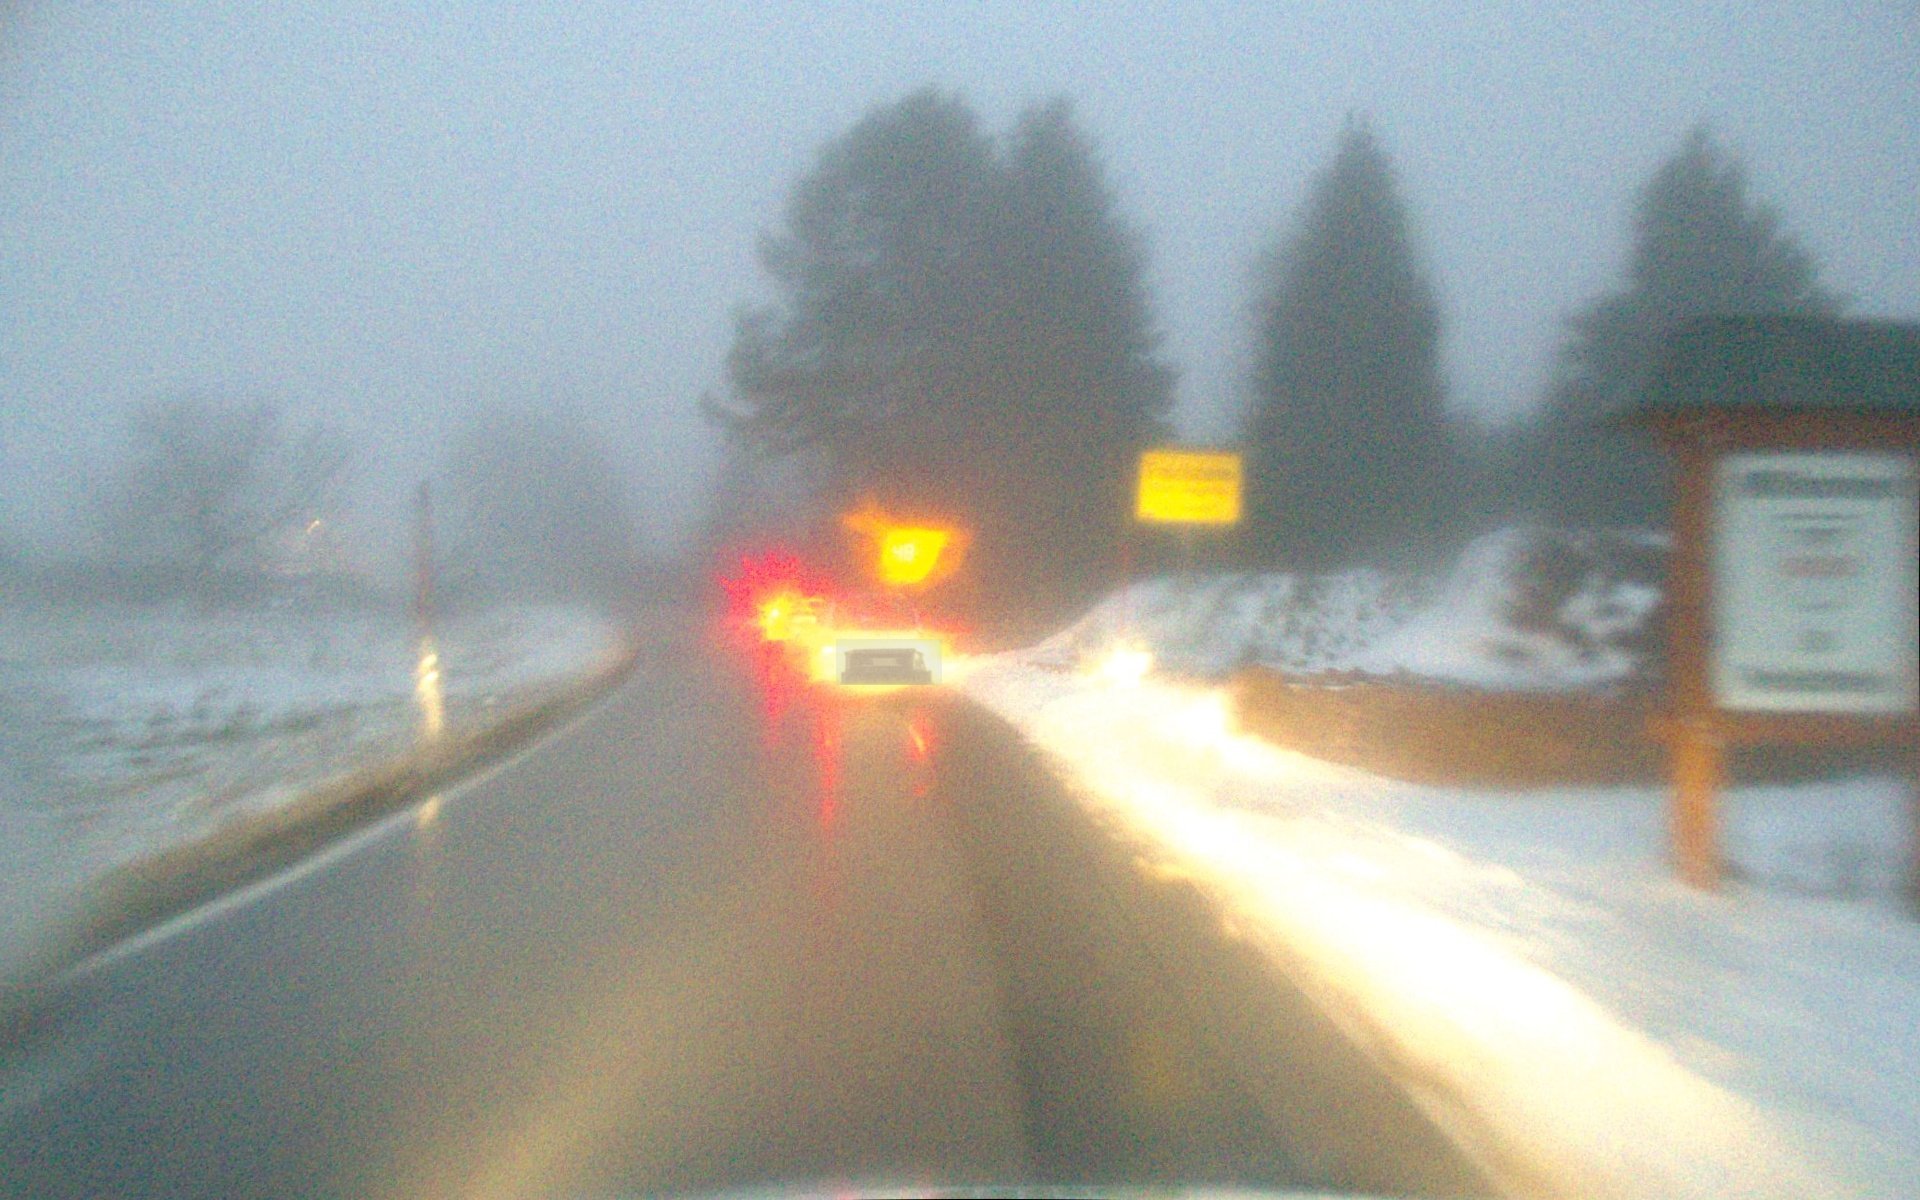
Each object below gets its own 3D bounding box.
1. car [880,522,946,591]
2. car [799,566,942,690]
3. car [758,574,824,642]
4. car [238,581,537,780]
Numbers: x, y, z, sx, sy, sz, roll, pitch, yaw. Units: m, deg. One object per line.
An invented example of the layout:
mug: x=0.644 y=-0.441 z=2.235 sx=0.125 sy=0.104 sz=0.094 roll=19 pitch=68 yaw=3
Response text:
car: x=-1.073 y=-0.997 z=39.140 sx=1.448 sy=1.534 sz=3.053 roll=0 pitch=-1 yaw=0
car: x=-1.363 y=0.427 z=23.838 sx=1.675 sy=1.488 sz=3.993 roll=5 pitch=-2 yaw=-7
car: x=-3.921 y=0.180 z=38.638 sx=1.450 sy=1.534 sz=3.050 roll=0 pitch=0 yaw=-4
car: x=-4.811 y=0.638 z=14.291 sx=1.491 sy=1.534 sz=3.053 roll=0 pitch=-1 yaw=0
